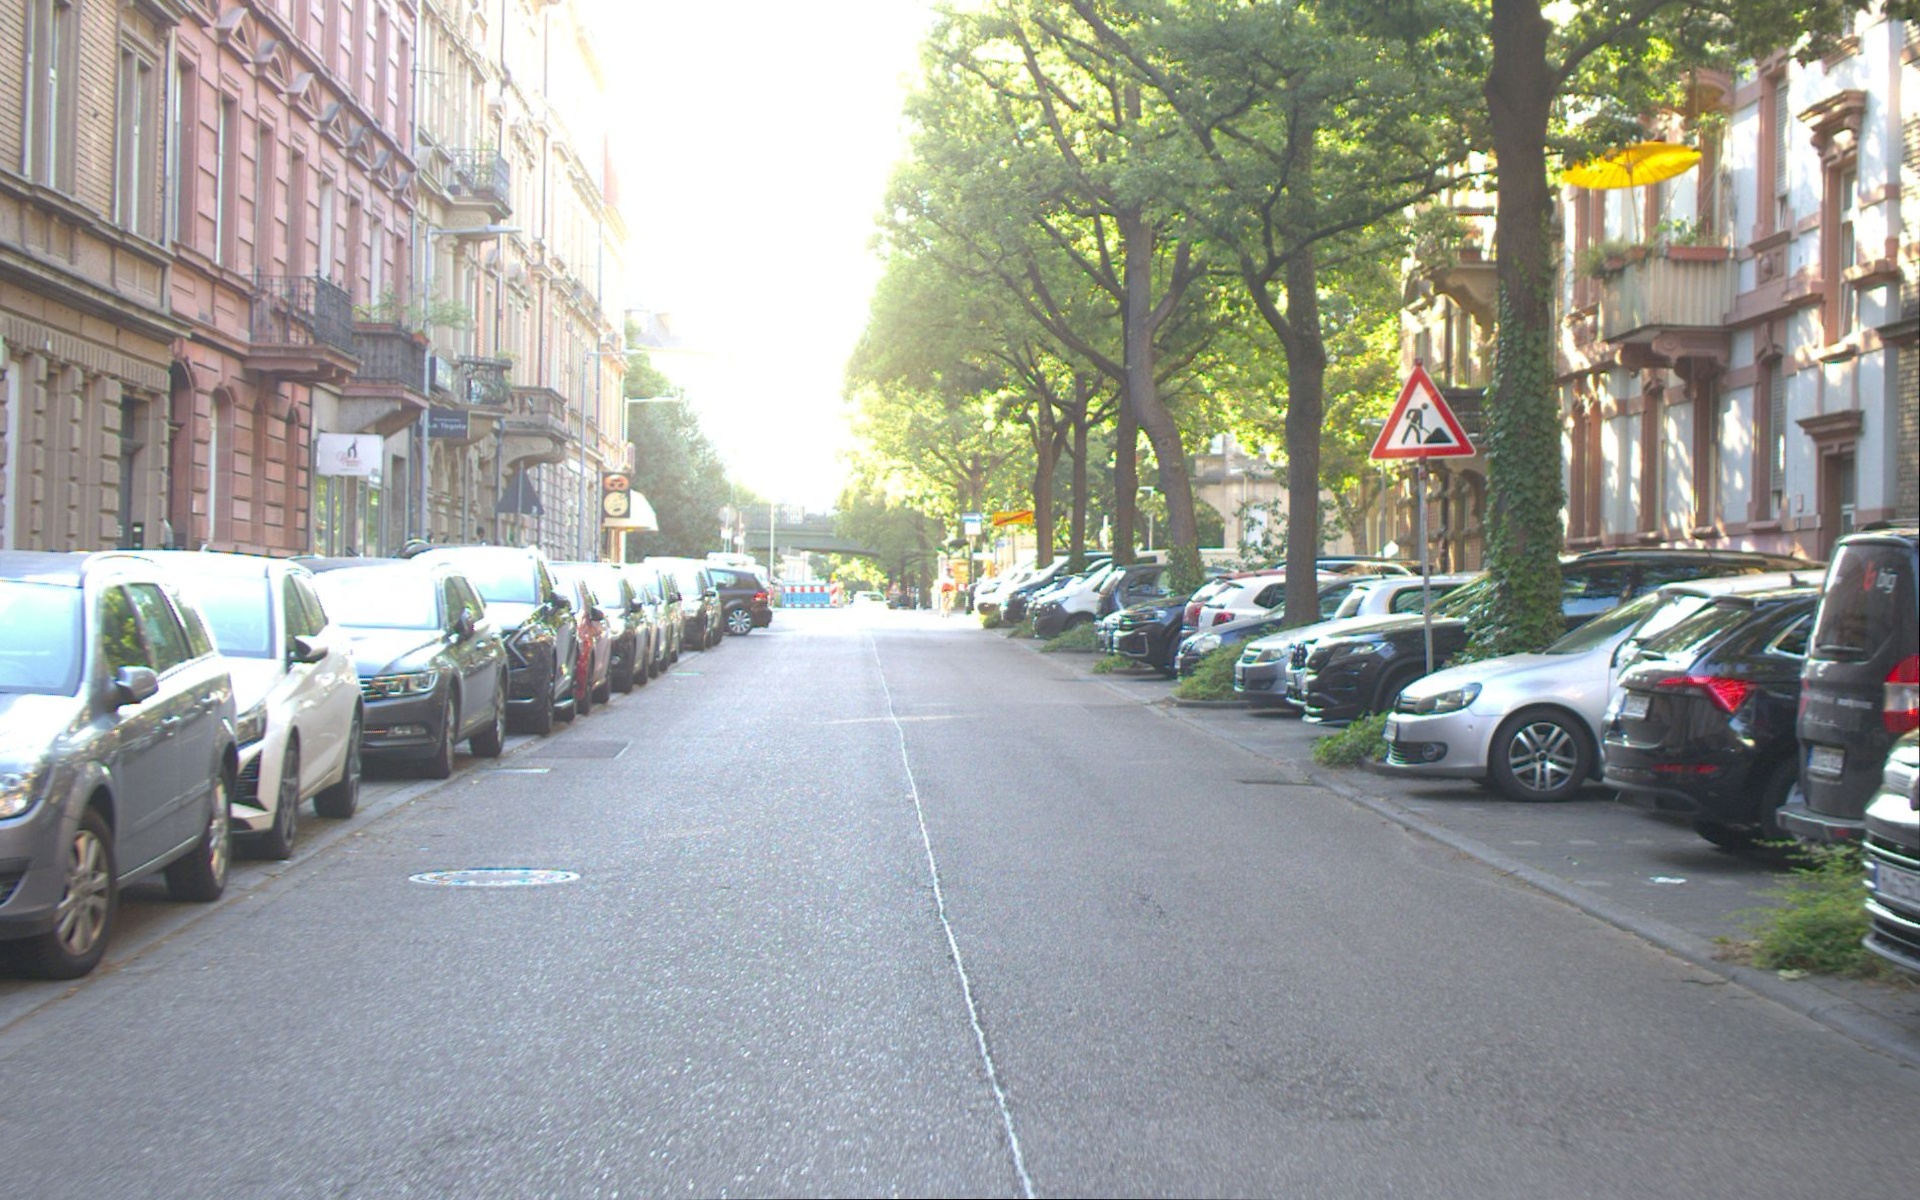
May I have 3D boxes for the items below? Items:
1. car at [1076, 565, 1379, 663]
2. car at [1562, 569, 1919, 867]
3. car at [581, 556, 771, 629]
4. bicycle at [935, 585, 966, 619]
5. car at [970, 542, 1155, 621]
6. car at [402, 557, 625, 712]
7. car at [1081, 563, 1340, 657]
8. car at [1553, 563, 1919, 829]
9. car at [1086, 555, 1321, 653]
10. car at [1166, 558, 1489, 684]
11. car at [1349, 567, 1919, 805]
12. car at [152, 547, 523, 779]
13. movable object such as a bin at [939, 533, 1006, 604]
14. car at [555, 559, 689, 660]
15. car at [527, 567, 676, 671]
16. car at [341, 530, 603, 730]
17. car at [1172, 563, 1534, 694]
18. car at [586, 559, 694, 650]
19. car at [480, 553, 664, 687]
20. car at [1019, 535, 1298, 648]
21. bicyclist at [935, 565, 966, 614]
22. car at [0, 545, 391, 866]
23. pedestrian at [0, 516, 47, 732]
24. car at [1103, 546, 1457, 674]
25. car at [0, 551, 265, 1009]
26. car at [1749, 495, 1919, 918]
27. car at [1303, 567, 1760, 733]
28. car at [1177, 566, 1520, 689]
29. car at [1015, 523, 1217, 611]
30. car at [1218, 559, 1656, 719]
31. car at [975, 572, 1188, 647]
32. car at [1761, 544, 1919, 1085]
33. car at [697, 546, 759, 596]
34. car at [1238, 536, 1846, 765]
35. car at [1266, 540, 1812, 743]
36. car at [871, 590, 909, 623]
[{"bbox_3d":[4.337,0.223,56.119,4.658,1.498,1.932,1,1,-5],"label":"car"},{"bbox_3d":[5.444,0.567,18.113,4.144,1.450,1.937,-1,1,-2],"label":"car"},{"bbox_3d":[-6.148,-0.165,74.209,3.986,1.524,1.826,1,0,-7],"label":"car"},{"bbox_3d":[-0.283,0.048,100.553,0.803,0.965,2.108,2,0,-2],"label":"bicycle"},{"bbox_3d":[2.823,-0.518,95.679,4.973,2.089,2.106,1,0,-2],"label":"car"},{"bbox_3d":[-4.554,0.312,35.604,1.821,1.421,4.314,3,1,-2],"label":"car"},{"bbox_3d":[4.221,0.159,58.294,4.104,1.498,1.811,1,1,-6],"label":"car"},{"bbox_3d":[5.743,0.568,20.610,3.986,1.490,1.687,1,1,-4],"label":"car"},{"bbox_3d":[4.287,0.068,60.871,3.883,1.643,1.725,1,1,-6],"label":"car"},{"bbox_3d":[4.858,0.269,45.741,3.986,1.585,1.783,1,1,-5],"label":"car"},{"bbox_3d":[4.713,0.552,23.007,3.987,1.451,1.687,1,1,-1],"label":"car"},{"bbox_3d":[-4.309,0.381,24.460,1.862,1.467,4.489,1,1,-1],"label":"car"},{"bbox_3d":[0.514,-1.228,135.823,1.994,2.690,3.108,2,0,11],"label":"movable object such as a bin"},{"bbox_3d":[-5.044,0.117,51.699,1.705,1.434,3.959,1,1,-2],"label":"car"},{"bbox_3d":[-4.860,0.234,47.023,1.705,1.318,4.101,1,1,-2],"label":"car"},{"bbox_3d":[-4.324,0.227,31.037,1.821,1.595,4.314,3,1,-2],"label":"car"},{"bbox_3d":[4.578,0.318,40.426,3.986,1.383,1.678,-2,1,-2],"label":"car"},{"bbox_3d":[-5.429,0.051,58.629,1.581,1.468,4.000,1,1,-2],"label":"car"},{"bbox_3d":[-4.697,0.206,42.149,1.821,1.472,4.424,3,1,-2],"label":"car"},{"bbox_3d":[3.729,-0.145,65.273,5.091,1.933,2.158,1,-3,-1],"label":"car"},{"bbox_3d":[-0.271,-0.307,100.506,0.803,1.379,0.985,2,0,-3],"label":"bicyclist"},{"bbox_3d":[-4.120,0.461,18.016,1.756,1.467,4.089,1,1,-3],"label":"car"},{"bbox_3d":[-7.481,0.170,26.384,0.695,1.625,1.018,1,0,-3],"label":"pedestrian"},{"bbox_3d":[4.434,0.127,48.035,4.644,1.697,1.882,-1,1,-5],"label":"car"},{"bbox_3d":[-3.965,0.535,13.189,1.886,1.439,4.543,1,1,-3],"label":"car"},{"bbox_3d":[5.853,0.476,15.467,4.125,1.782,1.945,1,1,0],"label":"car"},{"bbox_3d":[5.491,0.462,33.397,4.100,1.464,1.801,1,1,0],"label":"car"},{"bbox_3d":[4.839,0.331,43.144,3.986,1.457,1.783,1,1,-5],"label":"car"},{"bbox_3d":[3.733,-0.787,82.761,4.614,2.007,2.000,1,0,-4],"label":"car"},{"bbox_3d":[4.957,0.390,36.051,4.221,1.531,1.801,1,1,-4],"label":"car"},{"bbox_3d":[2.418,0.178,68.946,3.986,1.469,1.782,0,1,-9],"label":"car"},{"bbox_3d":[5.302,0.582,10.948,4.919,1.627,2.079,-2,1,-5],"label":"car"},{"bbox_3d":[-6.886,-0.861,102.454,1.764,1.432,4.301,1,0,-3],"label":"car"},{"bbox_3d":[4.537,0.397,27.287,4.476,1.650,1.891,1,-1,0],"label":"car"},{"bbox_3d":[5.109,0.376,30.702,4.475,1.650,1.891,1,-1,-3],"label":"car"},{"bbox_3d":[-3.331,0.312,163.212,1.749,1.504,4.000,1,0,-2],"label":"car"}]
